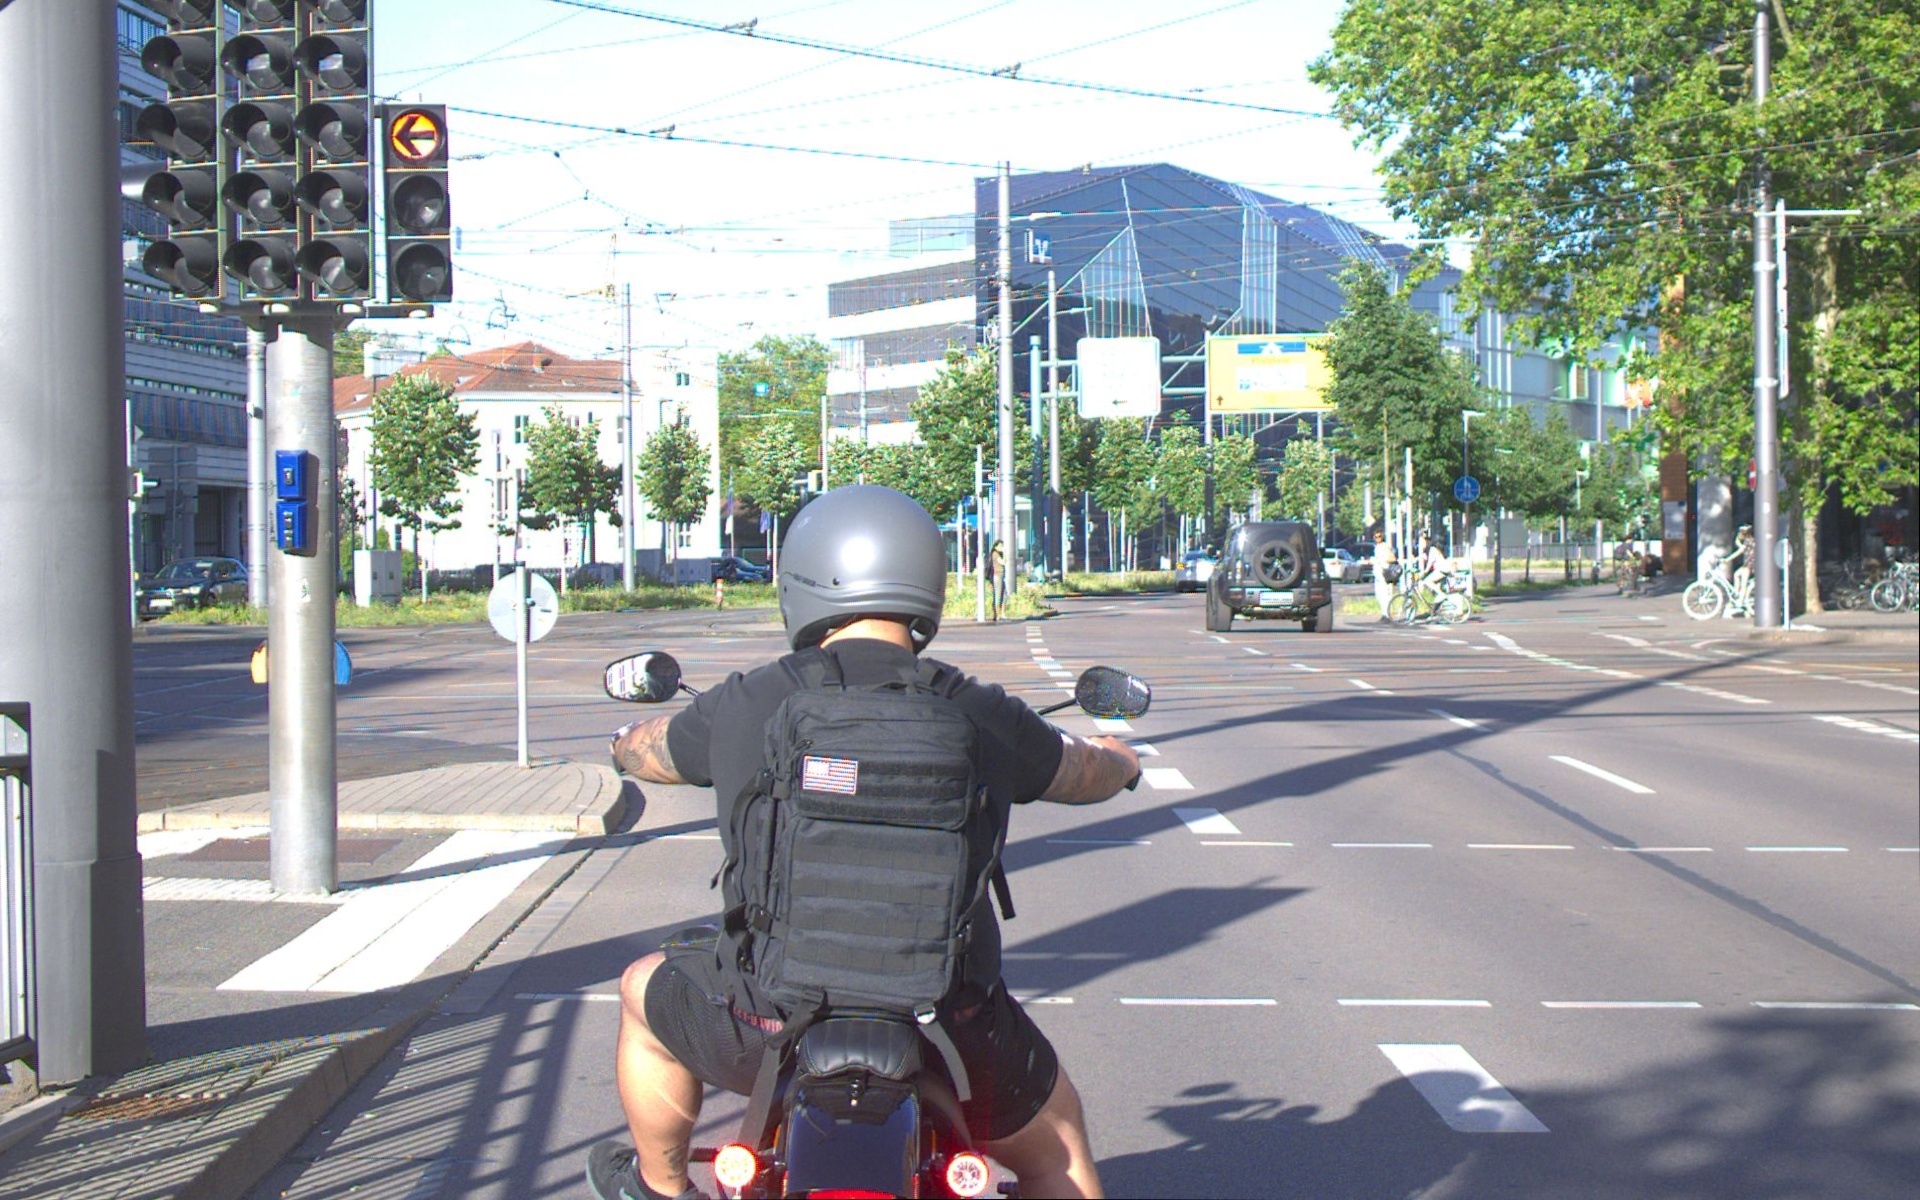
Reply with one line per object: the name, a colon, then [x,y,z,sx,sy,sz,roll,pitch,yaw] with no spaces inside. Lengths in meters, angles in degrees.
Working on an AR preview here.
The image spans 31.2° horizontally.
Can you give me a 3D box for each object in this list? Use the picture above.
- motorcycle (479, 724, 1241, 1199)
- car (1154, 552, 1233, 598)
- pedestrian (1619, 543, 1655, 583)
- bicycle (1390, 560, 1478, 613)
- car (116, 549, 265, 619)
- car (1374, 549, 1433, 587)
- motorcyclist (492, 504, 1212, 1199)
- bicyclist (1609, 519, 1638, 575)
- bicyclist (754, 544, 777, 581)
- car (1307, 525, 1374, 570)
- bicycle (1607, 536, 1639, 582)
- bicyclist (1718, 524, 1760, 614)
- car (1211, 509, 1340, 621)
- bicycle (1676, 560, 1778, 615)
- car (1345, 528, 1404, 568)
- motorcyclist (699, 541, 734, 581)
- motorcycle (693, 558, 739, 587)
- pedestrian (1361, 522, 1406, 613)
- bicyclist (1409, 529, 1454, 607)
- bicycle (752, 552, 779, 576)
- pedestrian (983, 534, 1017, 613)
motorcycle: [-0.150,0.839,5.731,1.005,1.121,2.323,1,1,-1]
car: [7.984,-0.845,117.149,1.903,1.503,3.997,1,1,15]
pedestrian: [17.863,-0.981,90.689,0.785,1.053,0.813,0,1,22]
bicycle: [9.260,-0.259,67.164,1.629,1.018,0.516,-1,0,23]
car: [-17.549,-0.381,78.594,1.792,1.461,4.309,-1,2,10]
car: [17.575,-1.260,136.049,1.843,1.459,3.997,1,1,14]
motorcyclist: [-0.166,0.630,5.592,1.022,1.547,1.286,1,1,-1]
bicyclist: [21.902,-1.762,113.527,0.861,1.834,1.256,0,1,14]
bicyclist: [-8.981,-1.728,158.452,0.764,1.661,0.993,0,1,17]
car: [15.638,-2.152,141.204,1.821,1.811,3.940,0,1,20]
bicycle: [21.881,-1.350,113.446,0.861,1.476,2.574,0,1,14]
bicyclist: [14.773,-0.596,65.192,0.743,1.689,0.570,-1,0,11]
car: [5.497,-0.607,60.393,2.053,1.867,4.226,1,1,3]
bicycle: [14.550,-0.244,65.228,1.853,1.018,0.516,-1,0,11]
car: [17.905,-2.250,148.277,1.722,1.651,3.750,0,1,20]
motorcyclist: [-10.570,-1.696,149.164,1.019,1.725,1.459,0,1,18]
motorcycle: [-10.594,-1.219,149.115,0.984,1.227,2.940,0,1,17]
pedestrian: [8.533,-0.658,69.283,0.701,1.830,0.514,1,0,35]
bicyclist: [9.215,-0.626,67.185,0.743,1.498,0.569,-1,0,23]
bicycle: [-8.968,-1.672,158.454,0.643,1.104,1.683,0,1,18]
pedestrian: [0.801,-0.538,68.990,0.657,1.577,0.489,0,1,3]
